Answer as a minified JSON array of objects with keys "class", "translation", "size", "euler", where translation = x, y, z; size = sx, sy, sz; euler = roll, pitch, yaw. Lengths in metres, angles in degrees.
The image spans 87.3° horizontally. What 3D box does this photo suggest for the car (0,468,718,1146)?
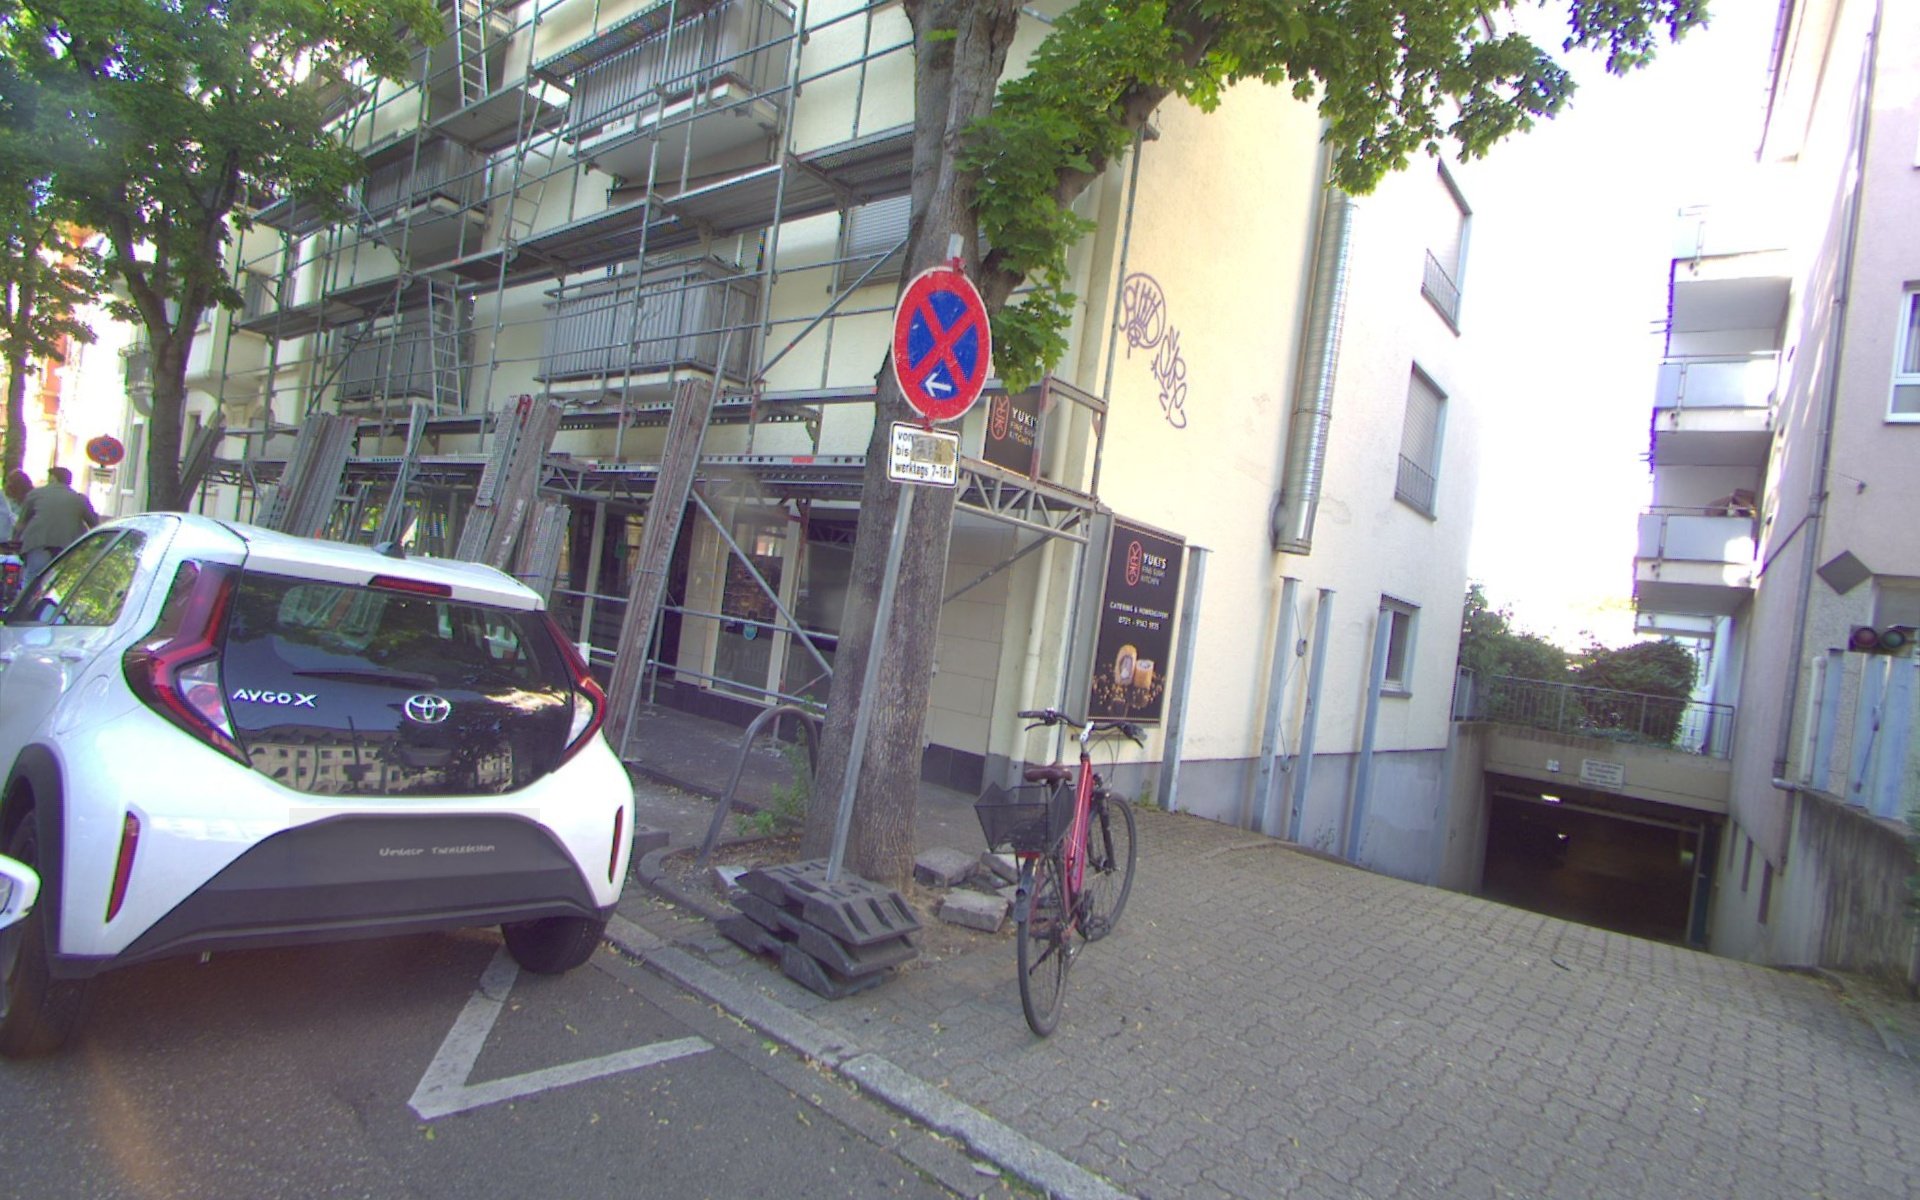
[{"class":"car","translation":[-3.005,0.414,4.241],"size":[3.909,1.553,1.801],"euler":[7,-2,42]}]
